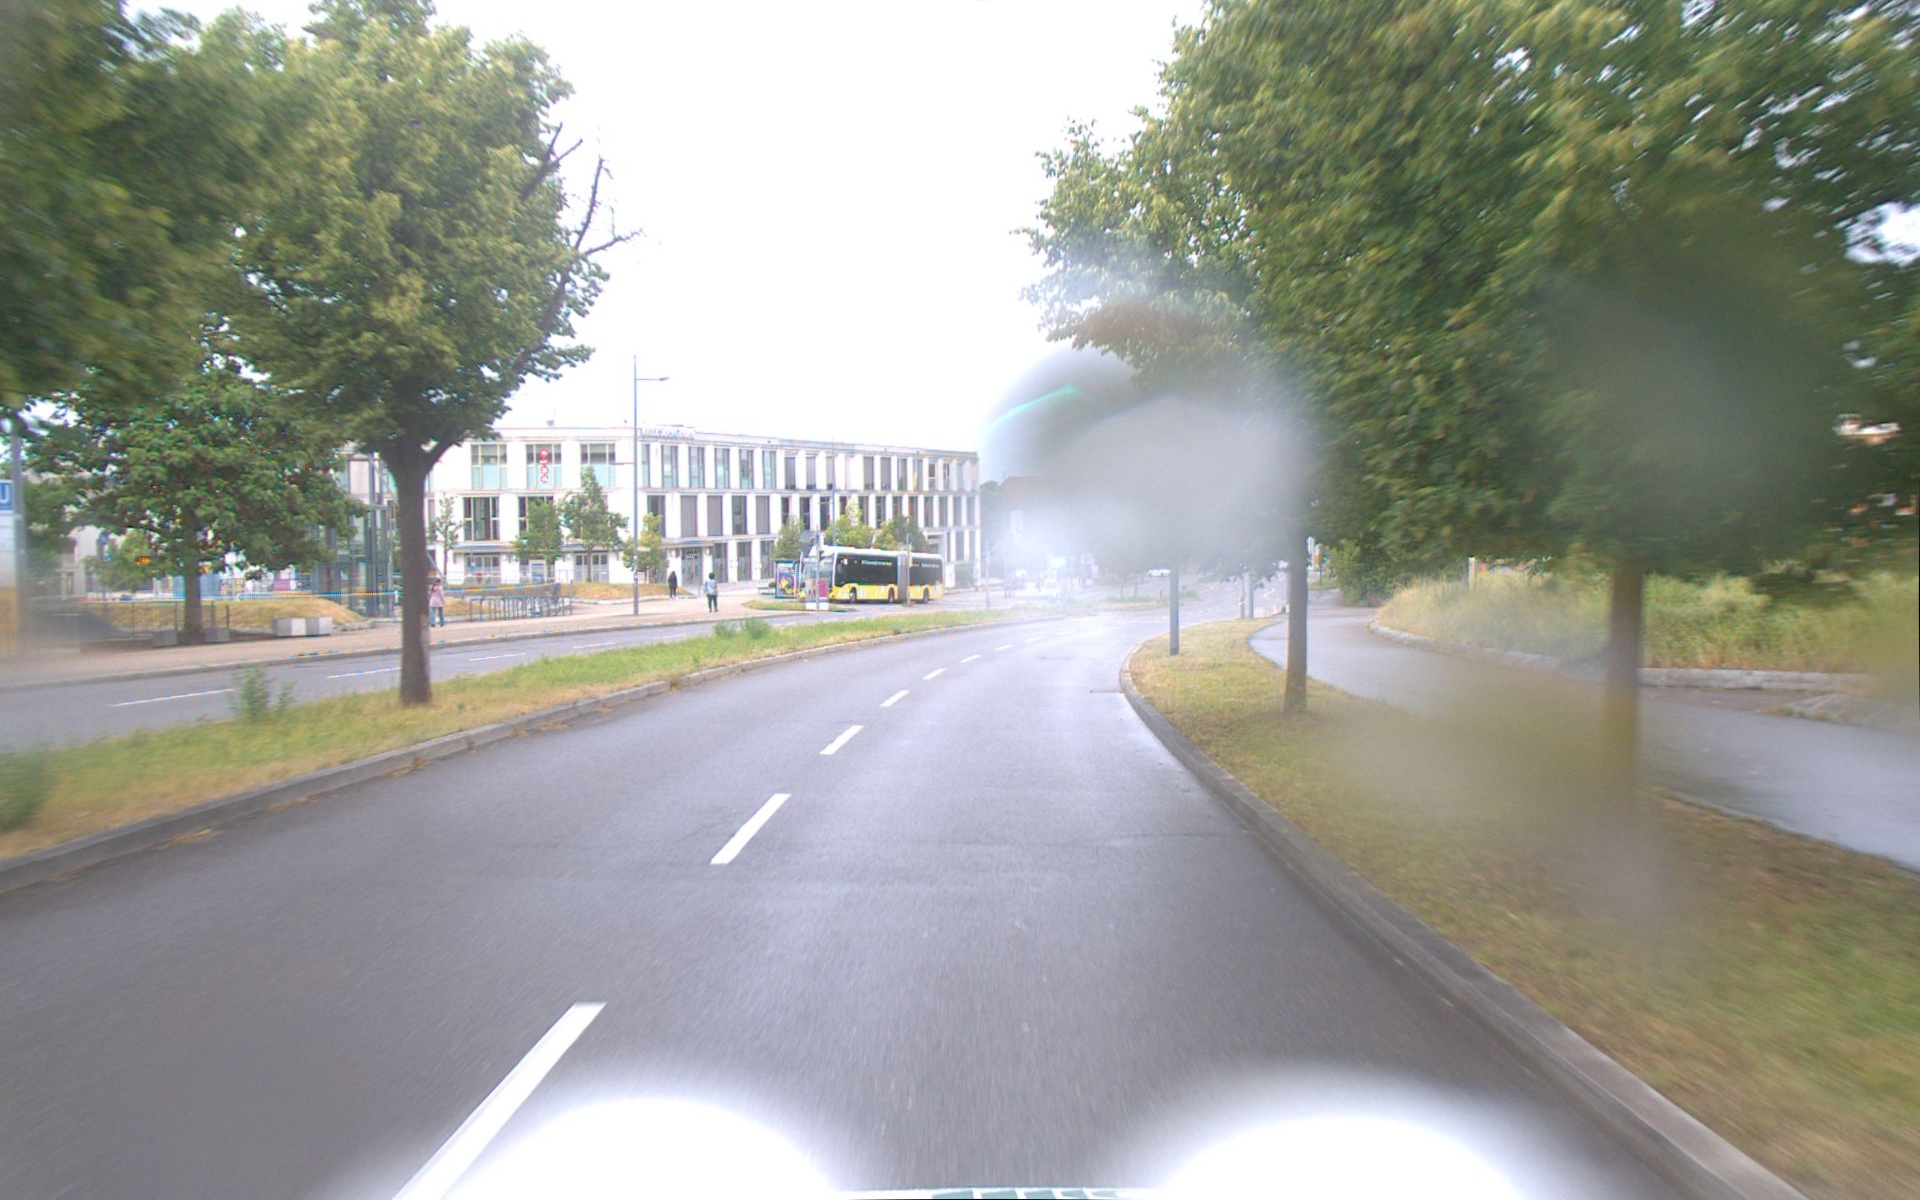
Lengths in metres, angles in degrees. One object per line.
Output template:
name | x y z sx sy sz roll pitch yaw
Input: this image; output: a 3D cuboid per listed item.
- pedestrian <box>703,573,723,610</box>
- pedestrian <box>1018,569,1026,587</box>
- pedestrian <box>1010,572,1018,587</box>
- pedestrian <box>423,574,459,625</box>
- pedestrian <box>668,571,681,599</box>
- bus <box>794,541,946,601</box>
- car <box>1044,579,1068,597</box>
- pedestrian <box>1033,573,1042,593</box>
pedestrian | -10.753 -0.351 71.922 0.819 1.601 0.717 0 -1 -11
pedestrian | 6.569 -2.327 174.347 0.733 1.885 0.837 0 -1 -4
pedestrian | 5.673 -2.202 174.747 0.818 1.559 0.751 0 -1 1
pedestrian | -17.067 -0.008 54.397 0.796 1.649 0.936 0 -1 6
pedestrian | -16.471 -0.858 95.316 0.669 1.551 0.719 0 -1 -4
bus | -5.459 -1.730 107.507 2.727 3.416 18.227 0 -1 21
car | 8.593 -1.076 147.845 1.447 1.520 2.531 0 -1 19
pedestrian | 7.689 -1.688 163.812 0.733 1.981 0.837 0 -1 -4
